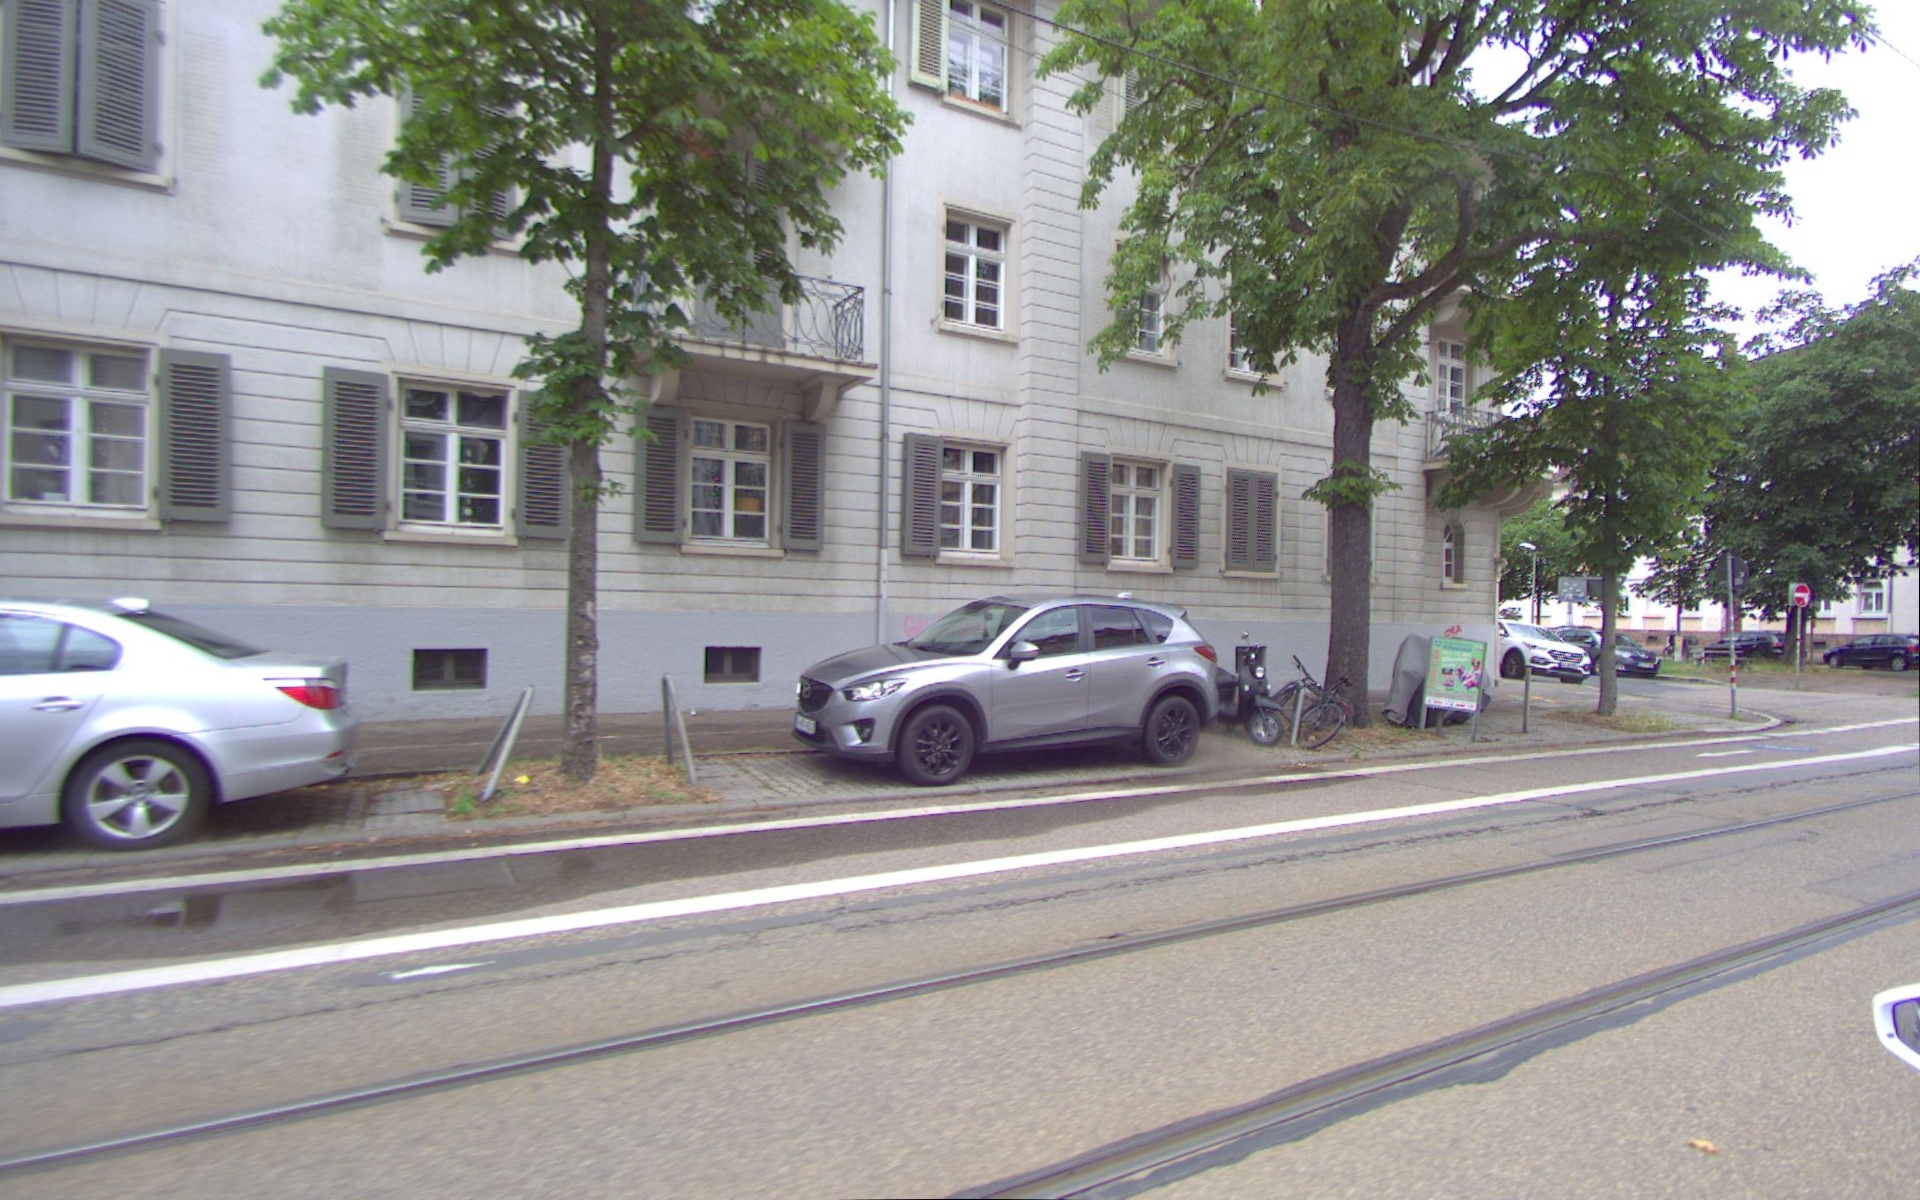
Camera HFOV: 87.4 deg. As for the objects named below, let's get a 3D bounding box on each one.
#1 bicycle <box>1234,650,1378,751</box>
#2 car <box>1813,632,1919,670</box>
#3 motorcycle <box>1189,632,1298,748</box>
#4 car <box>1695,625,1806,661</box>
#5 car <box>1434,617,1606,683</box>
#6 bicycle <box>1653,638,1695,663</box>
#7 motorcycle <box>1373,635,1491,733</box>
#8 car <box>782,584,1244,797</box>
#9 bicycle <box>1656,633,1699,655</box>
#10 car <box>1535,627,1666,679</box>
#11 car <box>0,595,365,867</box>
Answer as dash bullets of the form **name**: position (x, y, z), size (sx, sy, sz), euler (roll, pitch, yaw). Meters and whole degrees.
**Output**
- **bicycle**: position (4.137, 1.170, 12.105), size (0.917, 1.018, 1.371), euler (1, 2, -25)
- **car**: position (36.312, 1.995, 39.768), size (1.708, 1.324, 3.758), euler (1, -1, -6)
- **motorcycle**: position (3.345, 1.031, 11.953), size (0.540, 1.238, 1.282), euler (1, 1, -23)
- **car**: position (35.889, 1.907, 45.741), size (1.675, 1.483, 3.941), euler (1, 0, -6)
- **car**: position (15.691, 1.340, 28.462), size (1.903, 1.685, 4.510), euler (1, -1, -8)
- **bicycle**: position (28.786, 2.044, 40.516), size (0.440, 0.937, 1.674), euler (1, -1, -1)
- **motorcycle**: position (6.608, 1.129, 14.002), size (2.122, 1.274, 0.536), euler (1, 0, -37)
- **car**: position (0.574, 0.766, 10.003), size (4.241, 1.683, 1.829), euler (1, 2, -29)
- **bicycle**: position (38.363, 2.336, 53.725), size (0.641, 1.049, 2.191), euler (1, 0, -2)
- **car**: position (20.762, 1.680, 32.750), size (1.629, 1.429, 4.070), euler (1, 0, -1)
- **car**: position (-6.257, 0.717, 6.043), size (4.561, 1.485, 1.803), euler (1, 0, -31)
